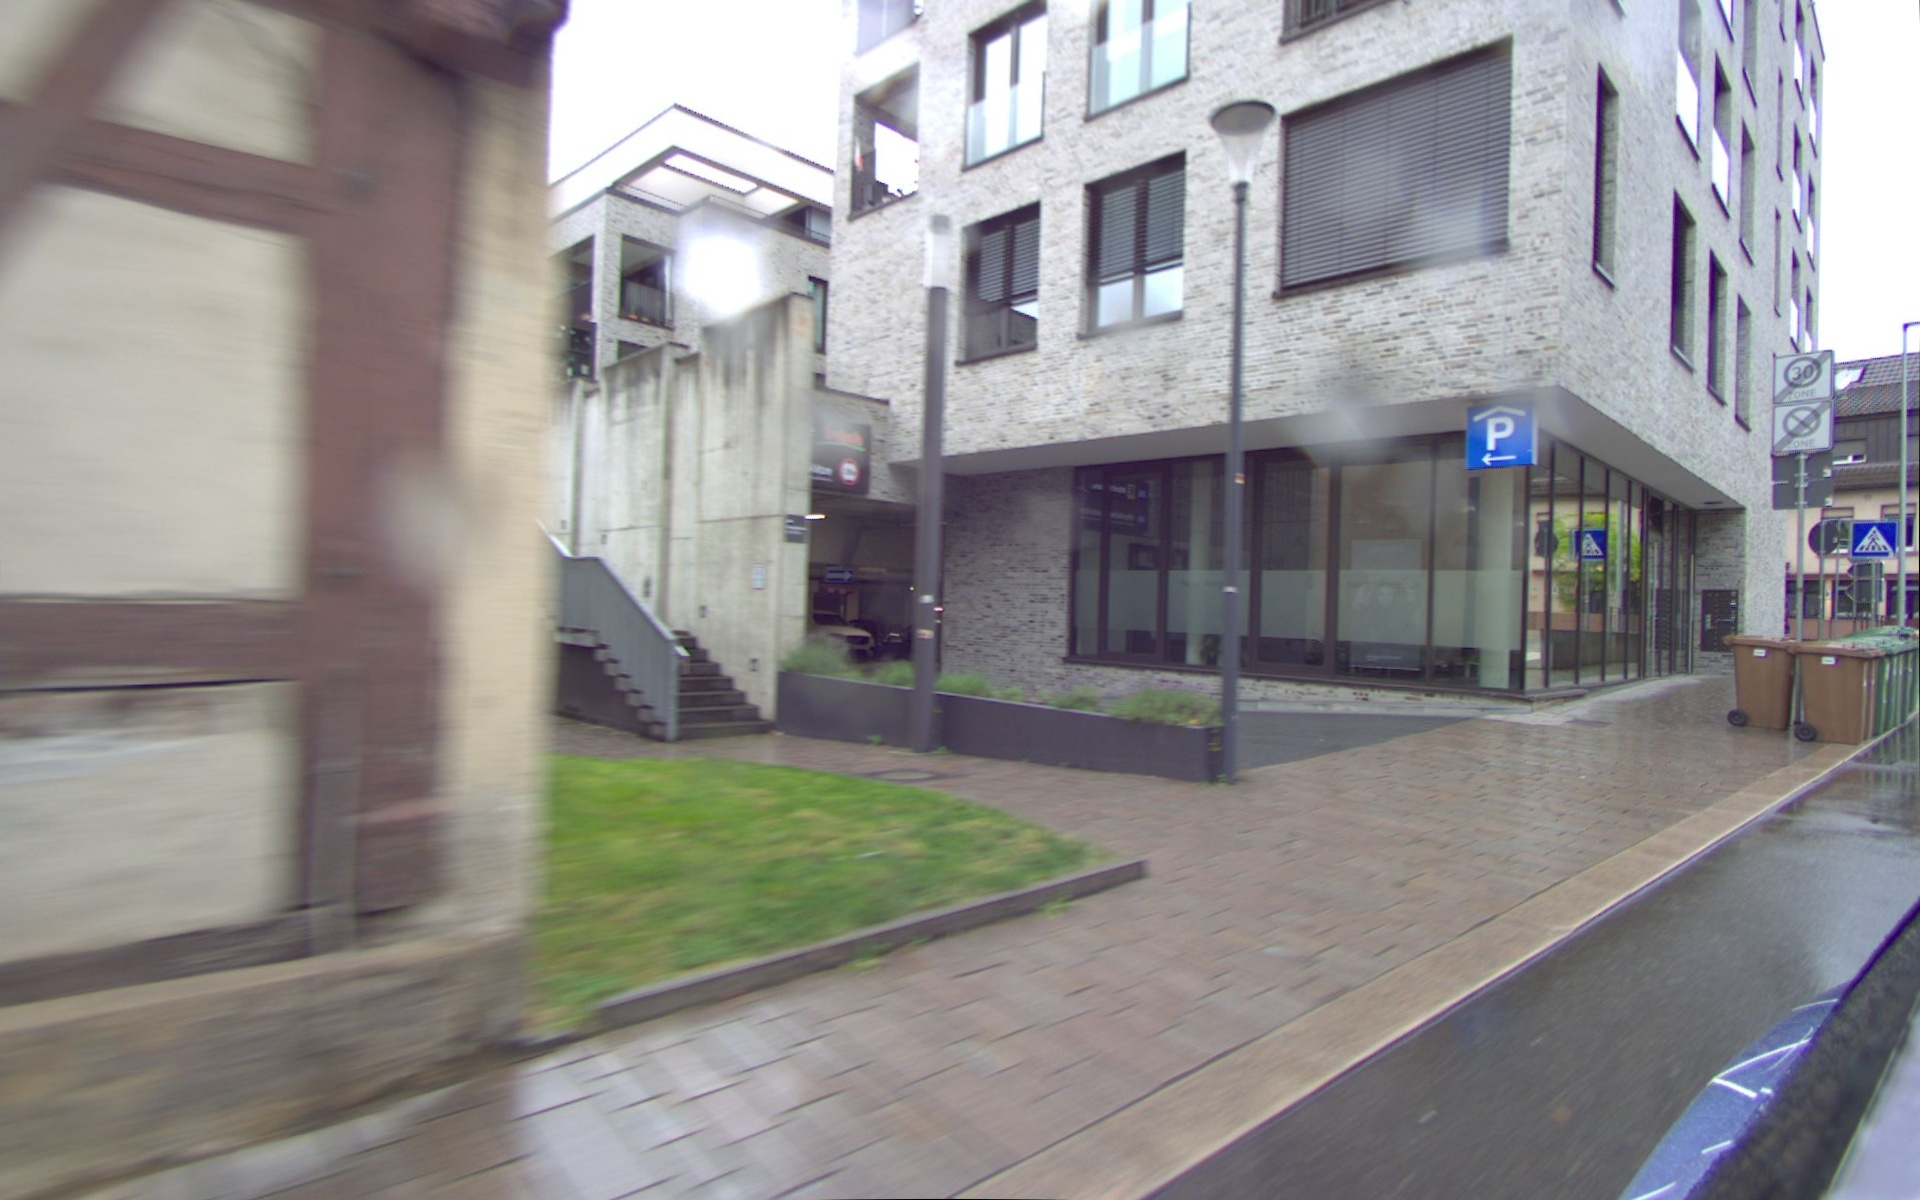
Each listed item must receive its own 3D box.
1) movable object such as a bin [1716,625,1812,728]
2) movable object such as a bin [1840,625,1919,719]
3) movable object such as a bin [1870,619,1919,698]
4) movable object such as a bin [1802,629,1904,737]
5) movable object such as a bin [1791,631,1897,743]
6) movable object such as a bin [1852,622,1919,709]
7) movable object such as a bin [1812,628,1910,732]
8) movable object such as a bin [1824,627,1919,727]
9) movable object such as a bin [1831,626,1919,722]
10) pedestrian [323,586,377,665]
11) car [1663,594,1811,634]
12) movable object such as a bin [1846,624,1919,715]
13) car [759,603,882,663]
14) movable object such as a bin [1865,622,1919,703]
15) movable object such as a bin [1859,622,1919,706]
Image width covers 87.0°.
[{"bbox_3d":[9.450,0.872,11.899,0.616,1.109,0.767,1,1,-41],"label":"movable object such as a bin"},{"bbox_3d":[11.886,0.908,13.015,0.571,1.109,0.767,1,1,-41],"label":"movable object such as a bin"},{"bbox_3d":[14.031,0.863,15.060,0.542,1.109,0.664,1,1,-43],"label":"movable object such as a bin"},{"bbox_3d":[10.099,0.915,11.450,0.571,1.109,0.767,1,1,-41],"label":"movable object such as a bin"},{"bbox_3d":[9.615,0.925,11.014,0.571,1.109,0.767,1,1,-41],"label":"movable object such as a bin"},{"bbox_3d":[12.742,0.879,13.808,0.571,1.109,0.767,1,1,-41],"label":"movable object such as a bin"},{"bbox_3d":[10.532,0.910,11.840,0.571,1.109,0.767,1,1,-41],"label":"movable object such as a bin"},{"bbox_3d":[11.004,0.902,12.226,0.571,1.109,0.767,1,1,-41],"label":"movable object such as a bin"},{"bbox_3d":[11.436,0.901,12.619,0.571,1.109,0.767,1,1,-41],"label":"movable object such as a bin"},{"bbox_3d":[-12.784,0.519,21.220,0.671,1.579,0.731,3,2,36],"label":"pedestrian"},{"bbox_3d":[31.422,0.548,41.081,1.637,1.448,4.474,2,0,-30],"label":"car"},{"bbox_3d":[12.316,0.902,13.419,0.571,1.109,0.767,1,1,-41],"label":"movable object such as a bin"},{"bbox_3d":[-4.833,1.075,34.625,1.855,1.670,4.595,1,2,-42],"label":"car"},{"bbox_3d":[13.605,0.889,14.596,0.646,1.109,0.741,1,1,-42],"label":"movable object such as a bin"},{"bbox_3d":[13.189,0.886,14.198,0.571,1.109,0.767,1,1,-41],"label":"movable object such as a bin"}]
